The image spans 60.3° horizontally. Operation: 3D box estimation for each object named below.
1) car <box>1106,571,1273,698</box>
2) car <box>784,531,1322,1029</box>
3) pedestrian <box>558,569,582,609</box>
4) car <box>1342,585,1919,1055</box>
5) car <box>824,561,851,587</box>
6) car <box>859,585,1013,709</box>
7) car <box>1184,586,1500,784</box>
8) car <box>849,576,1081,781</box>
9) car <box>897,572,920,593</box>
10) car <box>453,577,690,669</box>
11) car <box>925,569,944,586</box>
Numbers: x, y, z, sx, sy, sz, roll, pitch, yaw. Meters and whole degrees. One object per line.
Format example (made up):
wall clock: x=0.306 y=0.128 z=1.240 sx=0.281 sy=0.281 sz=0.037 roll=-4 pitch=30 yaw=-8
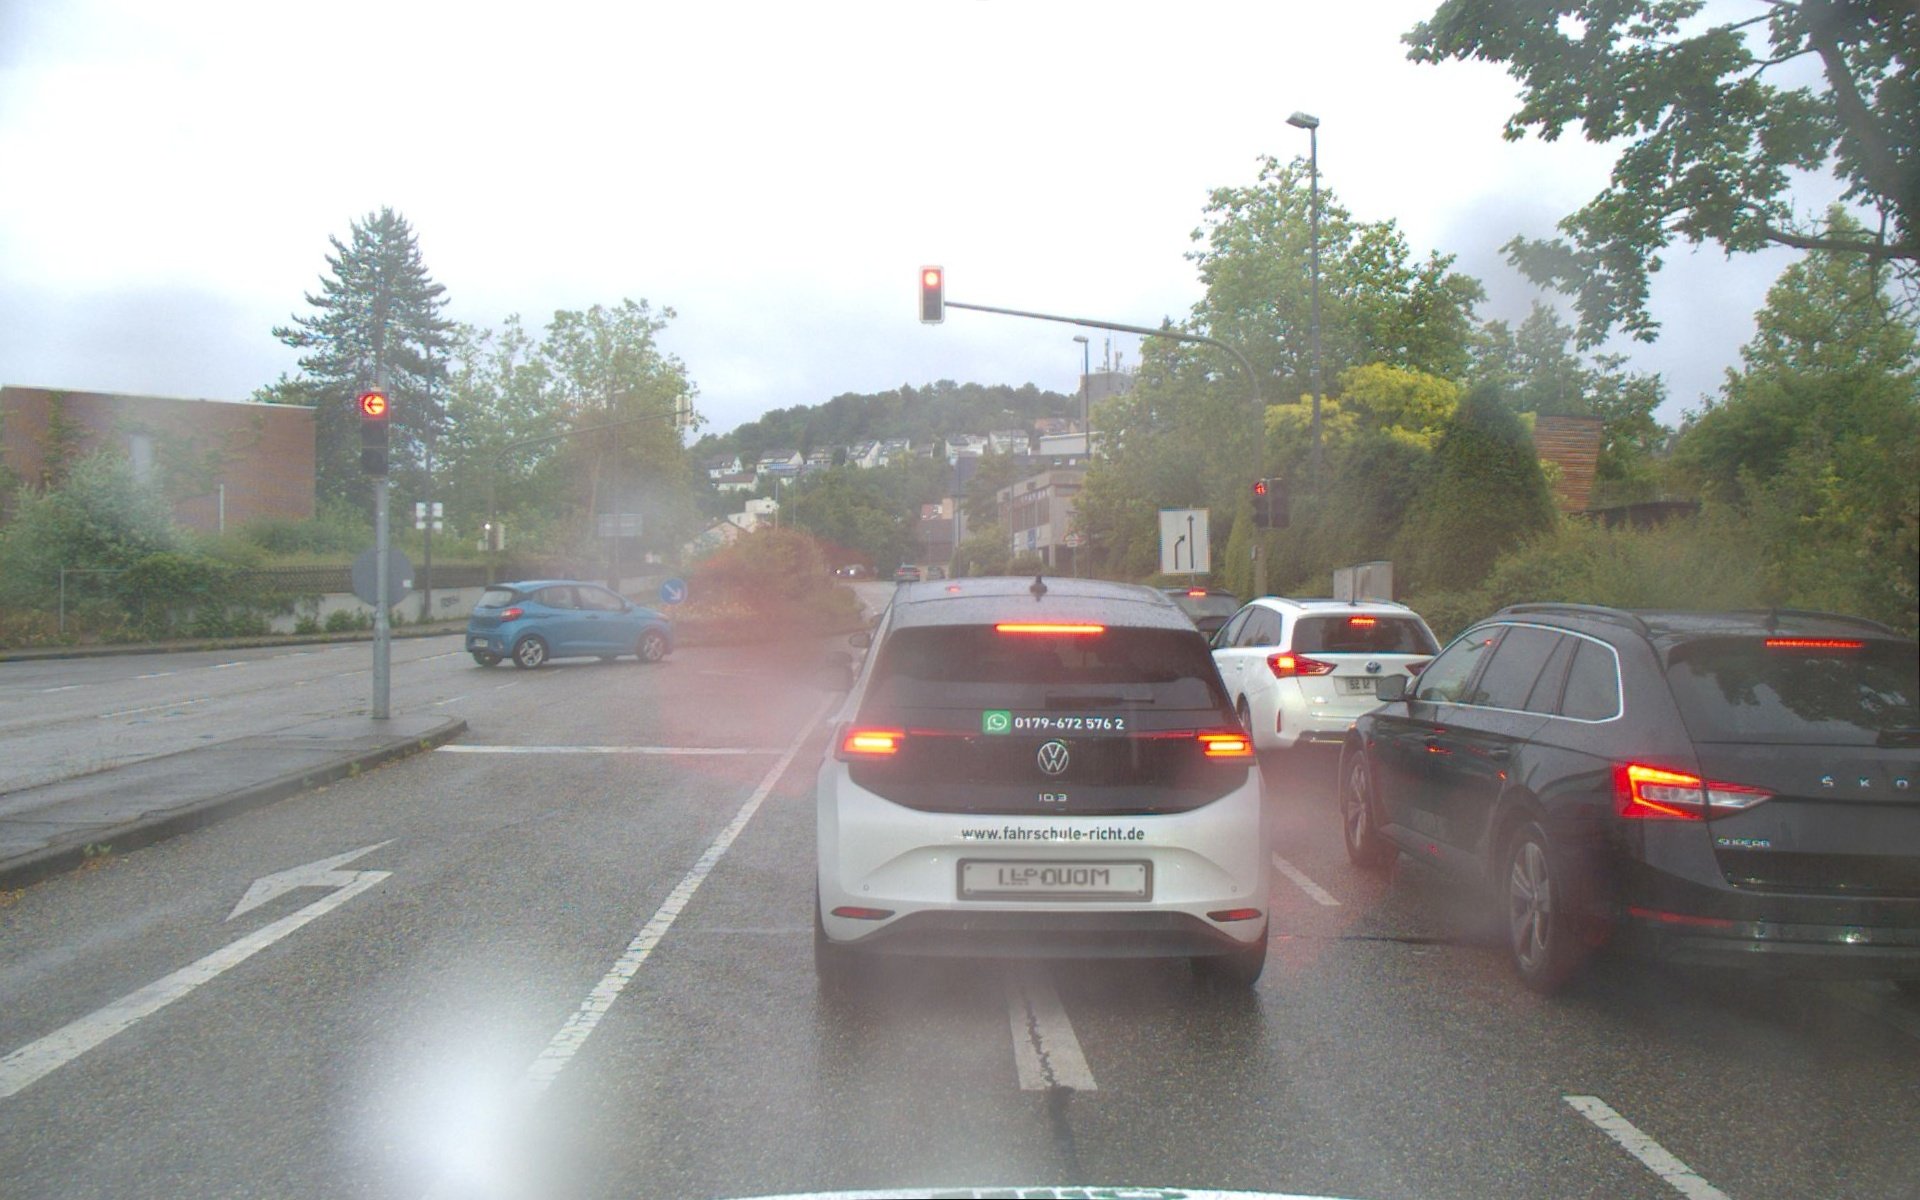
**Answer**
car: x=3.146 y=0.448 z=23.413 sx=1.739 sy=1.609 sz=3.999 roll=1 pitch=0 yaw=-1
car: x=0.267 y=0.592 z=7.944 sx=1.800 sy=1.657 sz=4.614 roll=1 pitch=1 yaw=-1
pedestrian: x=-15.996 y=-0.437 z=67.910 sx=0.744 sy=1.595 sz=0.825 roll=-2 pitch=0 yaw=-2
car: x=3.132 y=0.704 z=7.524 sx=1.800 sy=1.492 sz=4.350 roll=1 pitch=1 yaw=1
car: x=-10.383 y=-2.154 z=140.136 sx=1.953 sy=2.049 sz=3.999 roll=1 pitch=-1 yaw=-1
car: x=-0.335 y=0.542 z=21.635 sx=1.800 sy=1.424 sz=3.830 roll=1 pitch=1 yaw=-1
car: x=3.273 y=0.650 z=15.008 sx=1.800 sy=1.492 sz=4.116 roll=1 pitch=1 yaw=-1
car: x=-0.008 y=0.602 z=15.194 sx=1.800 sy=1.582 sz=4.174 roll=1 pitch=1 yaw=-1
car: x=-4.098 y=-1.394 z=131.755 sx=1.739 sy=1.609 sz=3.999 roll=-2 pitch=0 yaw=-1
car: x=-6.817 y=0.368 z=29.253 sx=3.720 sy=1.443 sz=1.738 roll=-2 pitch=1 yaw=-44
car: x=-2.512 y=-2.189 z=162.754 sx=1.739 sy=1.609 sz=3.999 roll=-2 pitch=0 yaw=-1
